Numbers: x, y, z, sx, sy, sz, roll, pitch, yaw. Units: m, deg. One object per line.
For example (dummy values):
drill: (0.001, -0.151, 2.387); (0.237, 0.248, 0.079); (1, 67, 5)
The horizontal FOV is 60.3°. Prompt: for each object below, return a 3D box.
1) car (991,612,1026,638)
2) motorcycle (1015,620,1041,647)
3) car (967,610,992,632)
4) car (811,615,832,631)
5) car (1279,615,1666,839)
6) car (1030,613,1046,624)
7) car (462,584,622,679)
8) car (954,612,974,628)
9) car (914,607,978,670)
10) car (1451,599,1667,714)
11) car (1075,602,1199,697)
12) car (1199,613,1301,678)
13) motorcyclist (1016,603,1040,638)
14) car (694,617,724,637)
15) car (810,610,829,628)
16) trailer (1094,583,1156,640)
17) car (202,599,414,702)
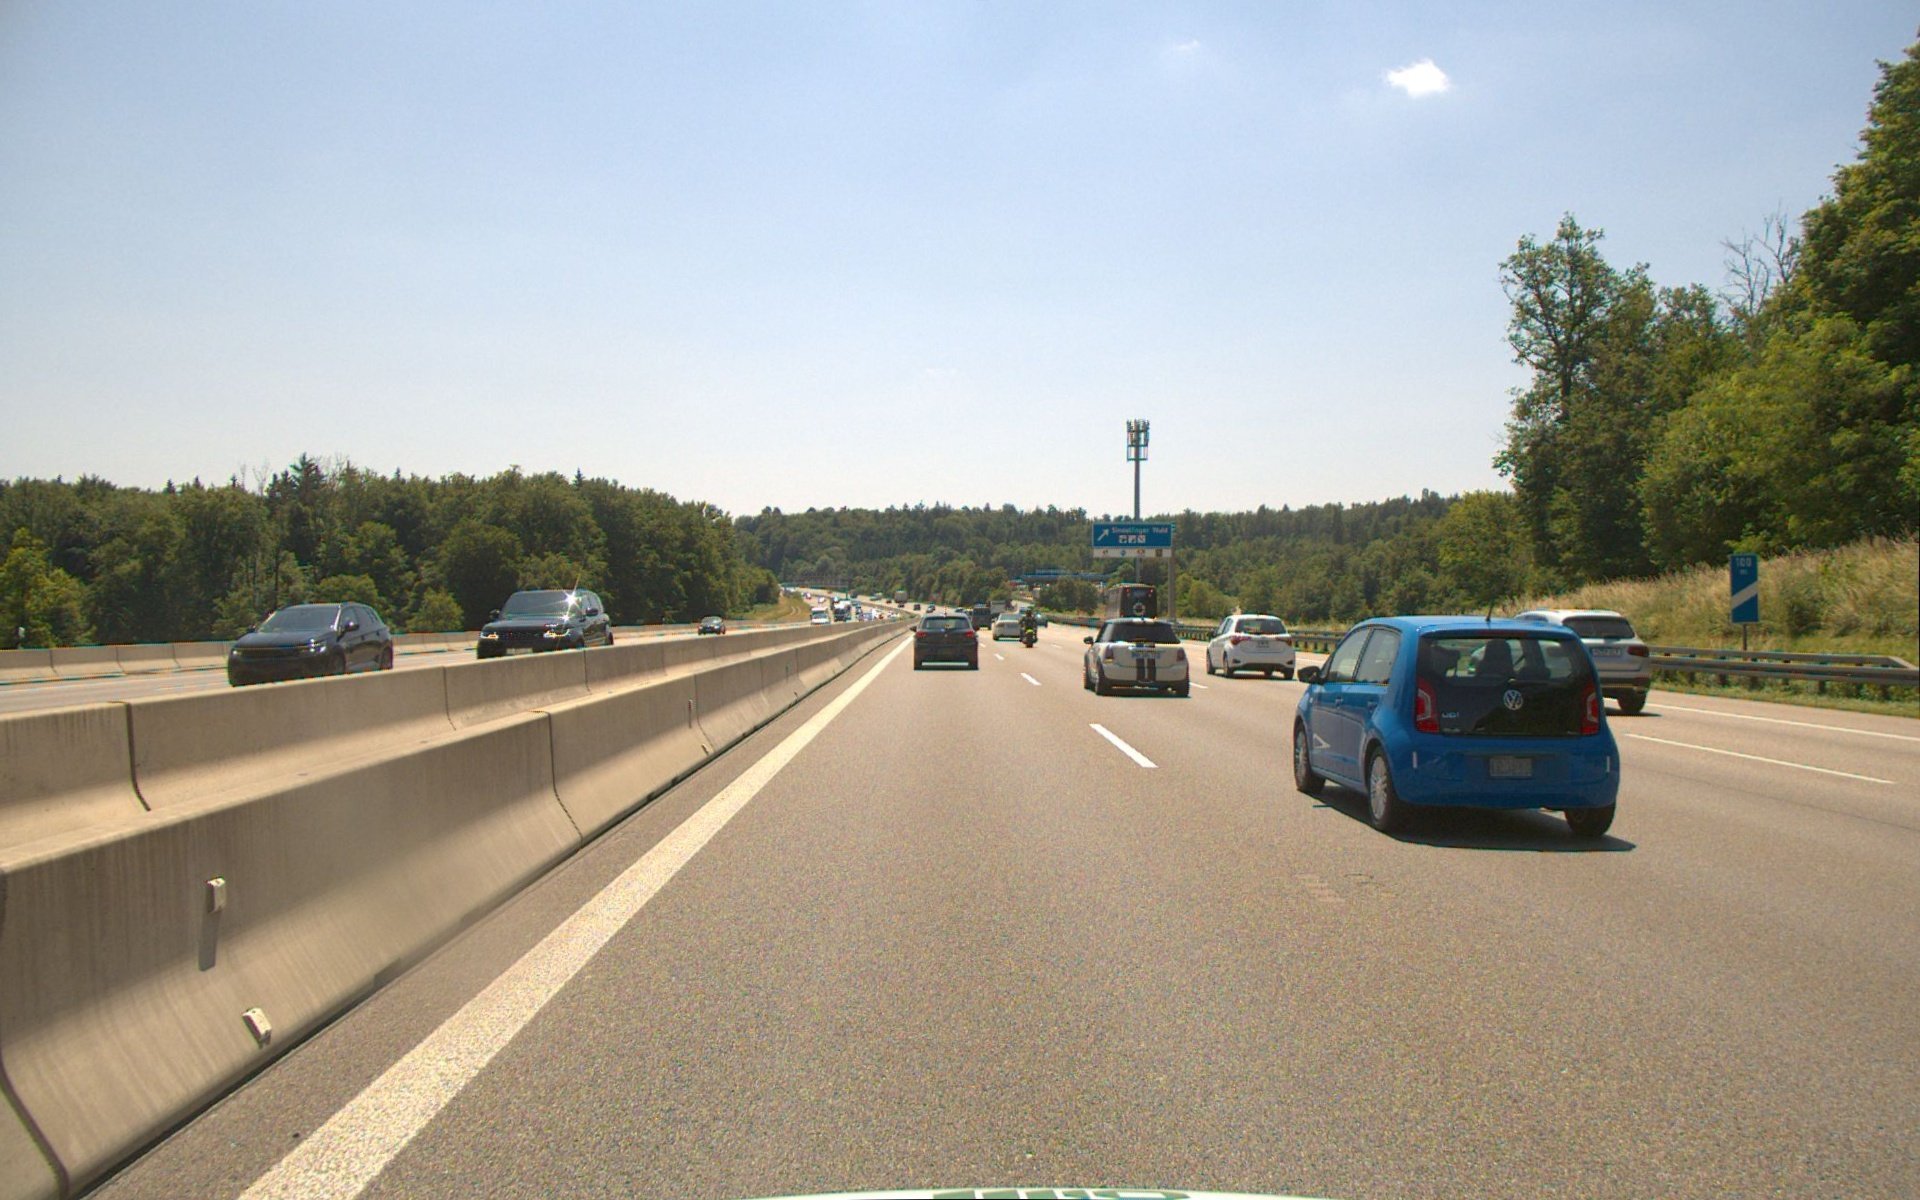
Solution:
car: (2.601, 1.332, 88.876); (1.746, 1.287, 3.459); (-1, 0, -1)
motorcycle: (2.930, 1.441, 71.546); (0.957, 1.149, 2.270); (-1, 0, -2)
car: (1.725, 1.889, 149.069); (2.055, 1.884, 4.079); (-1, 0, -2)
car: (-13.380, 2.216, 160.350); (1.802, 1.466, 3.998); (0, -1, -2)
car: (3.694, 0.837, 12.665); (1.702, 1.436, 3.999); (0, 0, -1)
car: (9.029, 2.188, 190.856); (1.576, 1.233, 3.458); (-1, -1, -2)
car: (-8.401, 0.597, 33.763); (1.953, 1.702, 5.279); (-3, 0, -1)
car: (0.427, 2.203, 185.938); (1.954, 1.713, 4.421); (1, 0, -3)
car: (-0.365, 0.973, 43.367); (1.591, 1.513, 3.685); (1, 1, -1)
car: (10.276, 0.893, 28.851); (1.764, 1.761, 5.238); (1, 0, -1)
car: (3.254, 0.911, 31.078); (1.804, 1.579, 3.999); (3, -1, 0)
car: (7.088, 1.082, 40.756); (1.632, 1.458, 4.374); (-1, 0, -2)
motorcyclist: (2.909, 0.871, 71.363); (0.942, 1.463, 1.235); (-1, 0, -1)
car: (-20.165, 2.161, 133.072); (1.802, 1.466, 4.762); (-2, -1, -2)
car: (-21.149, 2.852, 248.769); (2.176, 2.705, 8.173); (-2, -1, -1)
trailer: (11.458, 0.905, 116.339); (2.799, 3.752, 13.538); (-1, -1, -1)
car: (-12.122, 0.882, 31.181); (1.953, 1.704, 5.279); (-2, 0, -1)
